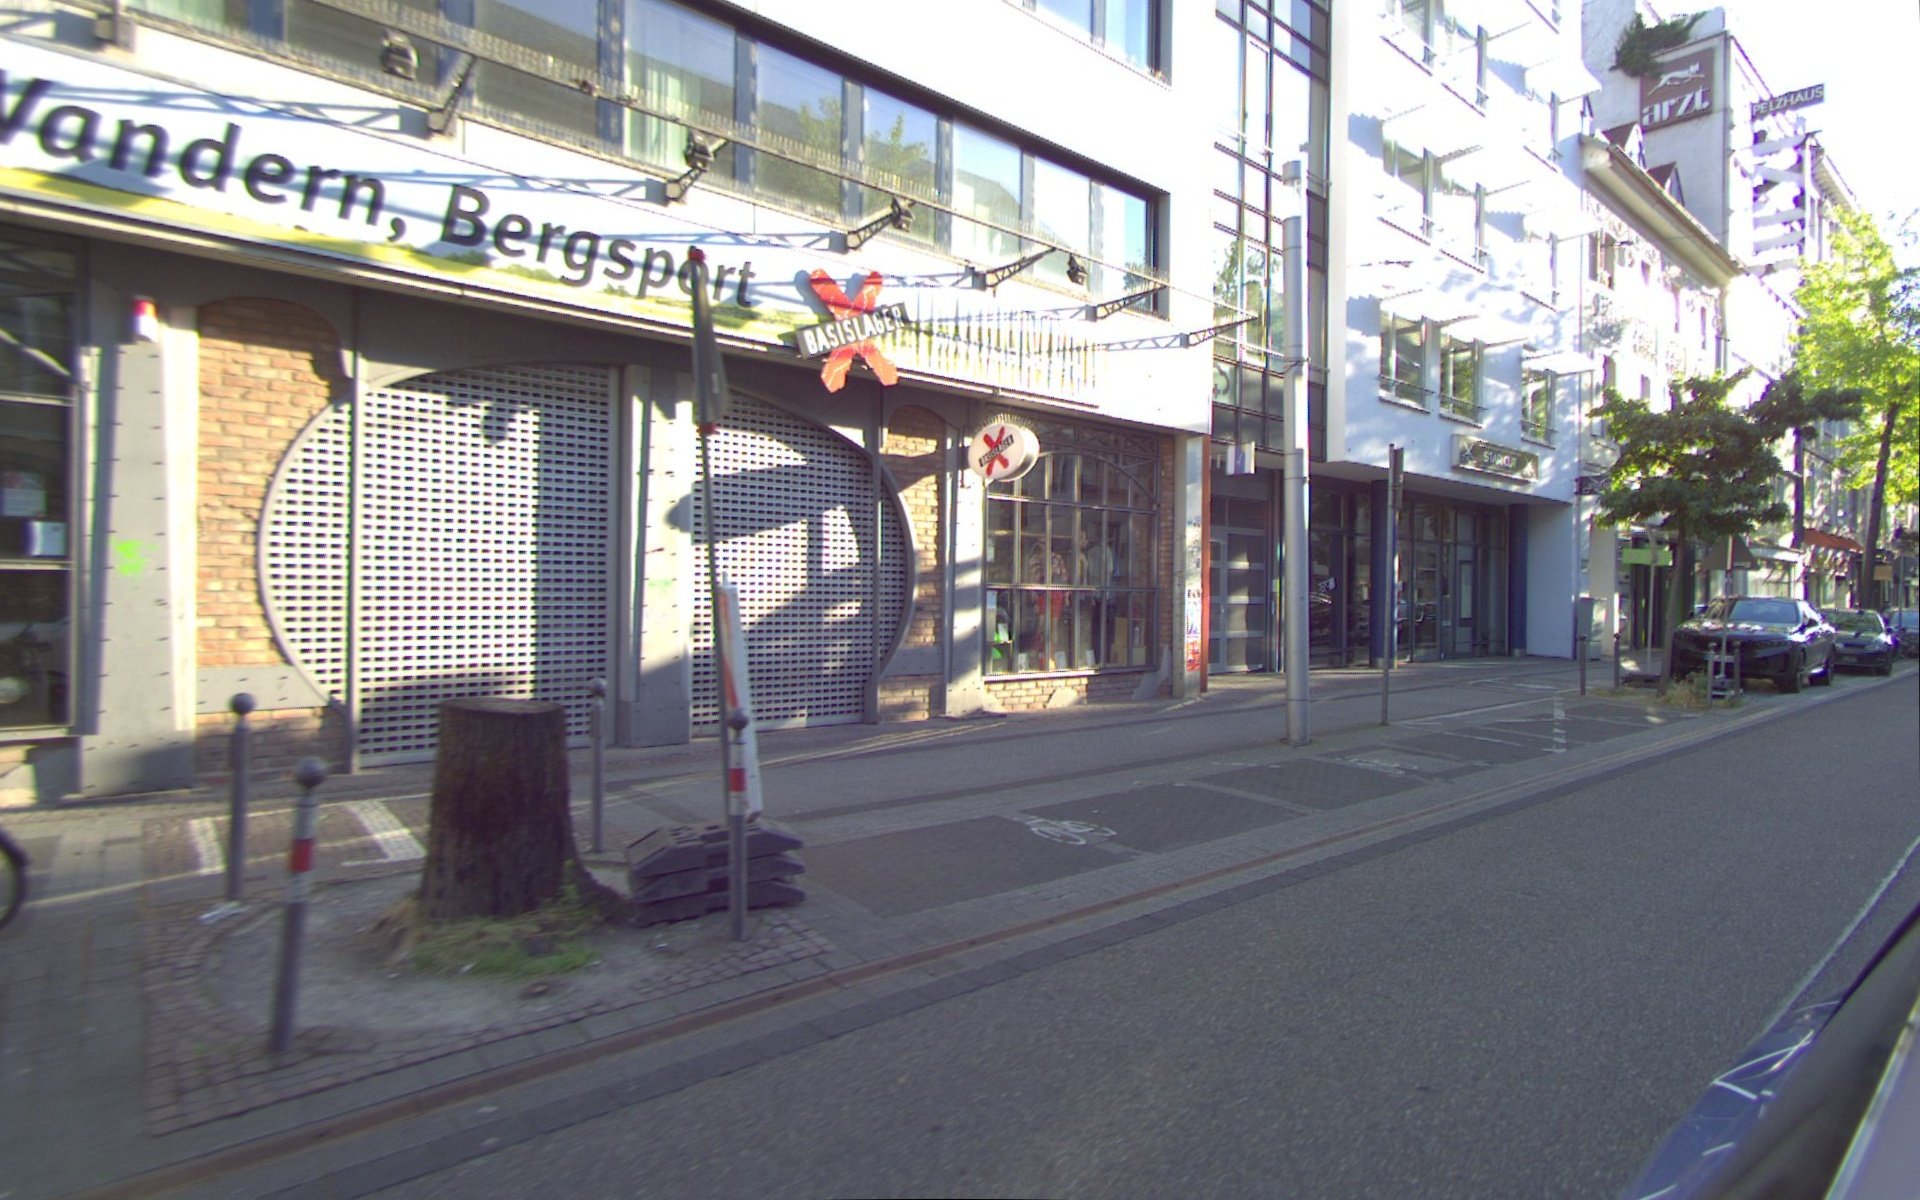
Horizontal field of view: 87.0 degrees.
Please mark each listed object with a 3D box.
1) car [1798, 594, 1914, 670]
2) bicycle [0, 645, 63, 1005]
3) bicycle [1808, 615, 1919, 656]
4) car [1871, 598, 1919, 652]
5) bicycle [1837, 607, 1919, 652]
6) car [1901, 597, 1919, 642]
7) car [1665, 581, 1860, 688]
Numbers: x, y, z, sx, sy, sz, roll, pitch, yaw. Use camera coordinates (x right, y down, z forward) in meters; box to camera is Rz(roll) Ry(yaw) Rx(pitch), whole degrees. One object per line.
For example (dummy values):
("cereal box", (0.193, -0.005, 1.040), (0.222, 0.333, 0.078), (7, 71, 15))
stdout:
("car", (21.333, 0.678, 24.155), (1.864, 1.529, 4.181), (4, 3, 41))
("bicycle", (-3.649, 0.809, 3.267), (0.824, 1.148, 1.820), (-1, 3, -32))
("bicycle", (24.572, 0.946, 27.520), (0.603, 1.000, 2.249), (1, 0, -38))
("car", (28.743, 0.703, 30.184), (4.210, 1.530, 1.769), (0, 0, -40))
("bicycle", (26.157, 0.818, 28.354), (0.737, 1.203, 2.325), (1, 0, -38))
("car", (34.954, 0.710, 35.843), (4.211, 1.529, 1.869), (0, 3, -40))
("car", (15.357, 0.564, 19.280), (4.788, 1.709, 1.984), (0, 3, -41))
